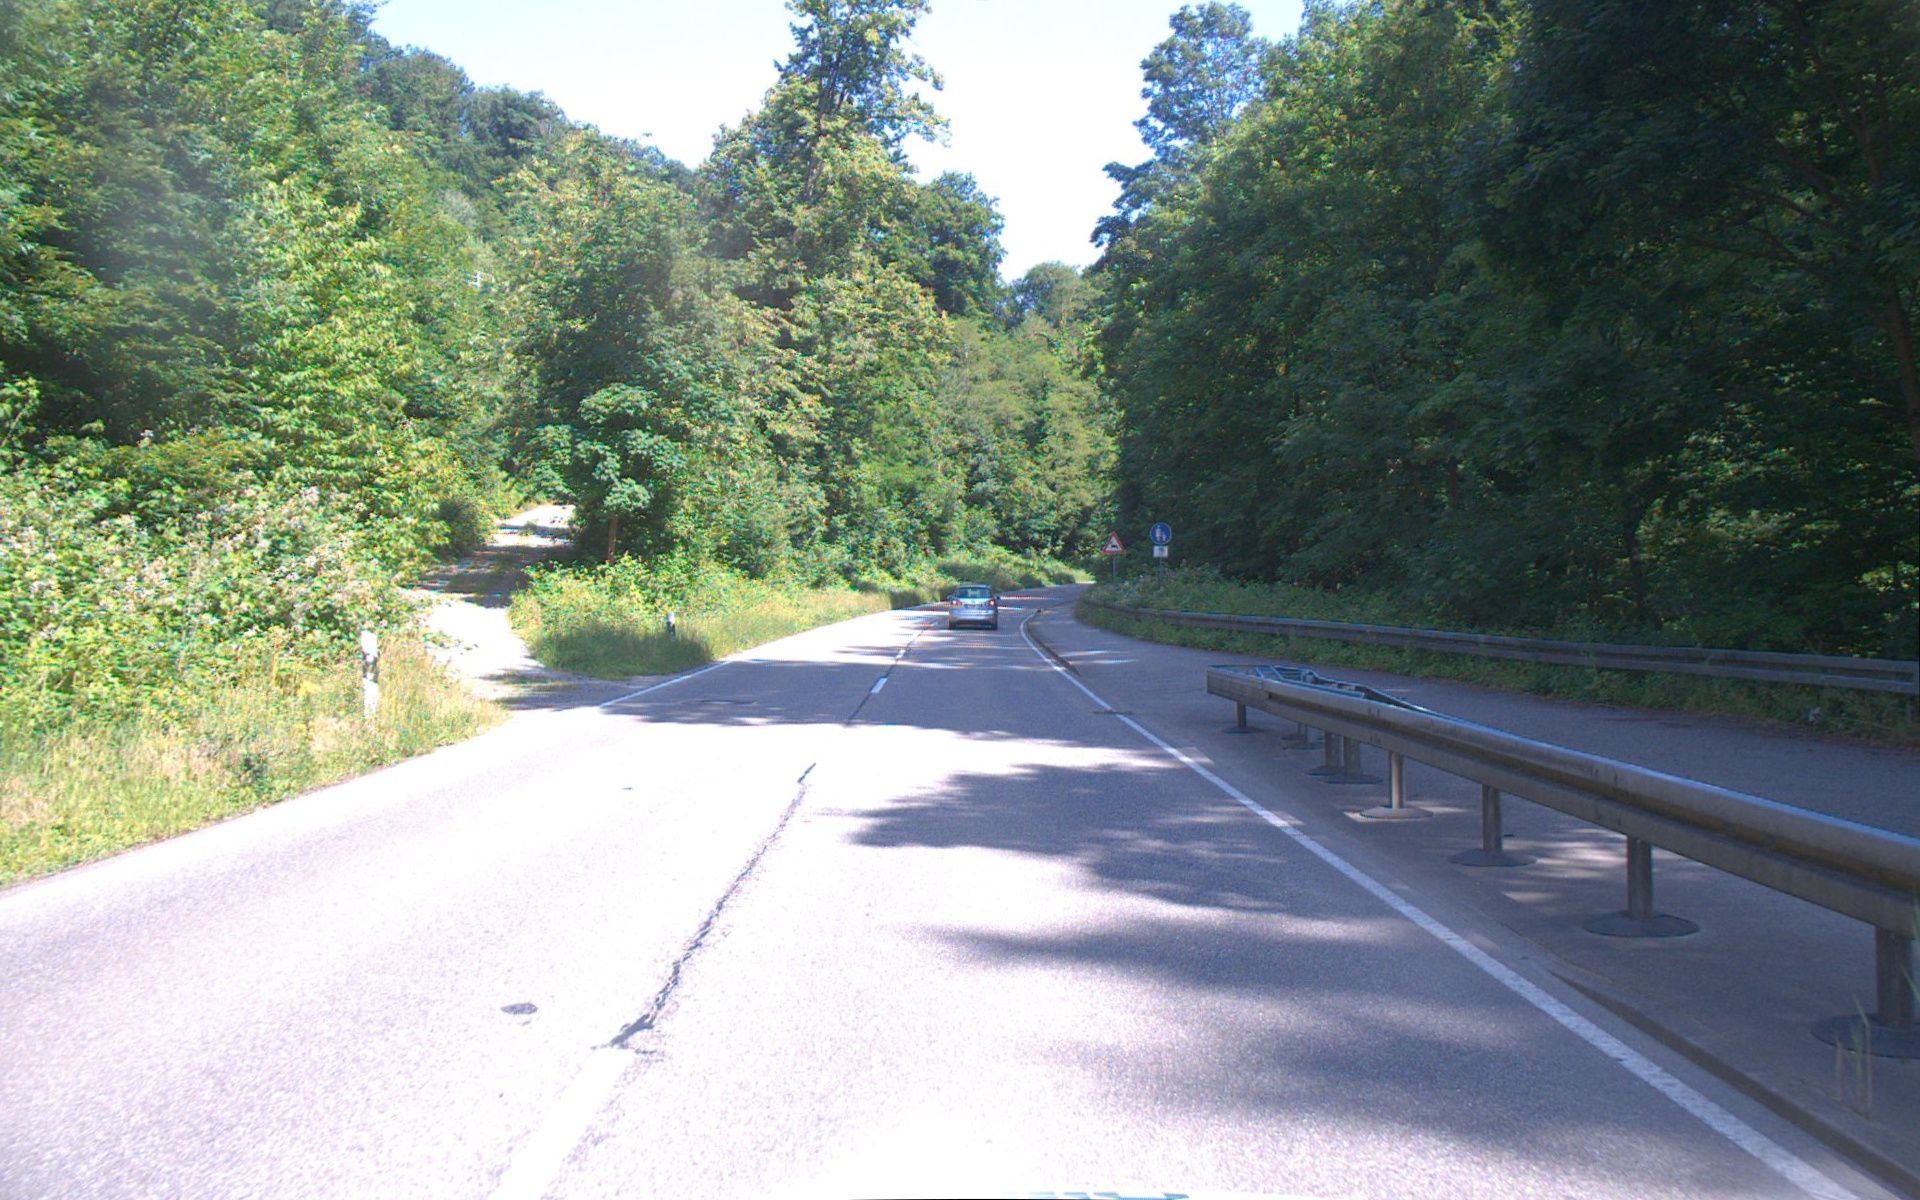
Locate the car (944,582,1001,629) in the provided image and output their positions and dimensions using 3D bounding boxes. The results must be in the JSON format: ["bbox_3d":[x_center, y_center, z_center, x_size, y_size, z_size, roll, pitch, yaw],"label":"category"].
[{"bbox_3d":[0.476,0.155,58.559,1.714,1.546,4.161,1,1,4],"label":"car"}]
